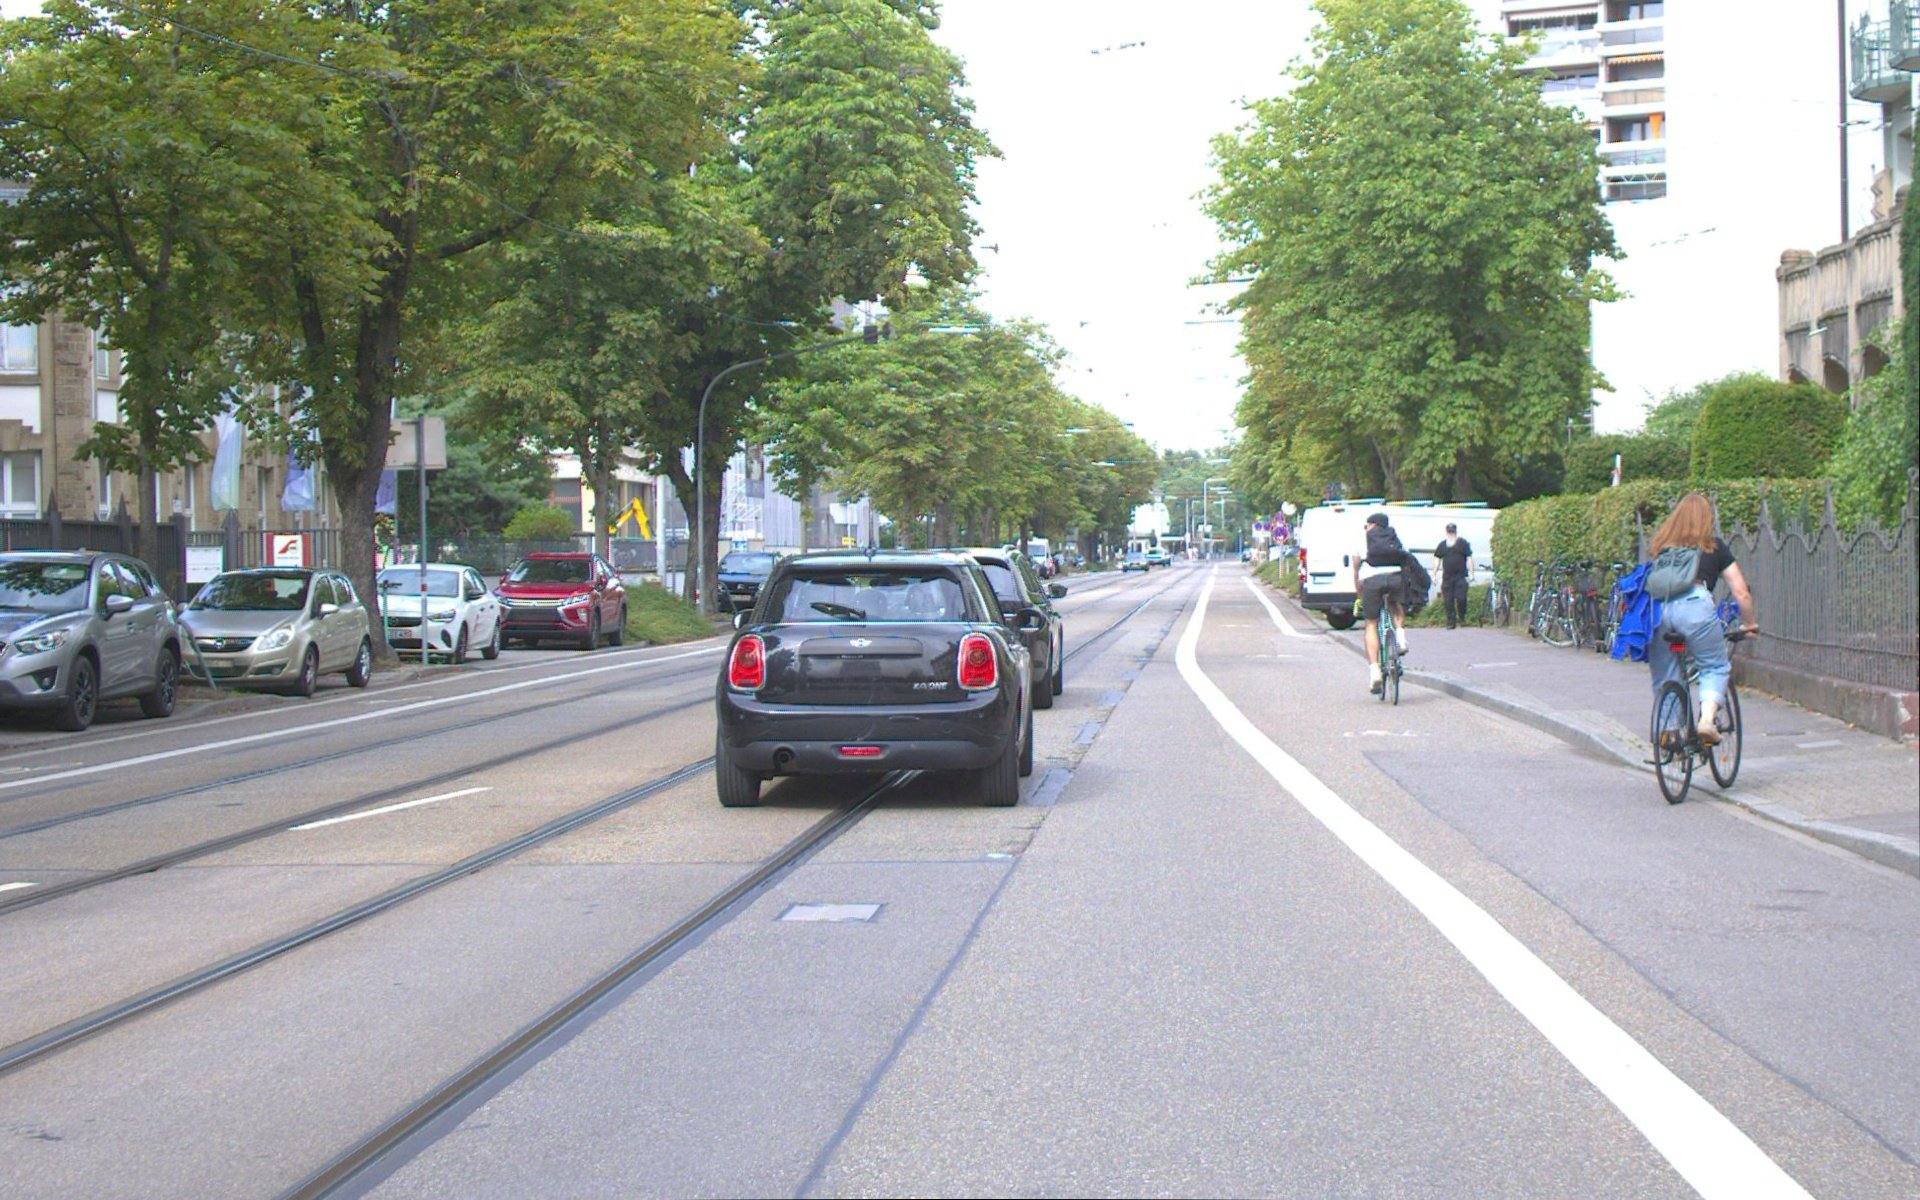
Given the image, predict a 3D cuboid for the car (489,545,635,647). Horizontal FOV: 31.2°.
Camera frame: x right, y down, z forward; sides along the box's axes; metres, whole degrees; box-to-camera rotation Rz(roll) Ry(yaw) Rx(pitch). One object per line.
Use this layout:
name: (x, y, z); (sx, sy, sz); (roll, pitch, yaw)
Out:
car: (-6.862, -0.098, 59.711); (1.721, 1.649, 4.542); (1, 1, 3)

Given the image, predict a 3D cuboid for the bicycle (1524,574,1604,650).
bicycle: (7.467, 0.144, 42.528); (0.485, 0.904, 1.665); (-2, 0, -7)

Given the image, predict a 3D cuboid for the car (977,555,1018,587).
car: (1.930, -1.477, 174.611); (1.802, 1.578, 4.031); (-2, 0, 4)

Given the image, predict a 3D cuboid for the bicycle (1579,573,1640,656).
bicycle: (7.329, 0.157, 38.830); (0.486, 0.904, 1.665); (-2, 0, 5)

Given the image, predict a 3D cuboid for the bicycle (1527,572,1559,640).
bicycle: (7.956, 0.077, 46.933); (0.386, 0.904, 1.664); (-2, 0, 9)

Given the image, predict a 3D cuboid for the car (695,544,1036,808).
car: (-0.466, 0.382, 20.553); (1.793, 1.418, 4.000); (0, 1, 2)

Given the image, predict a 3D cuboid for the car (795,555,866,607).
car: (-3.776, -0.562, 100.886); (1.693, 1.482, 3.677); (0, 1, 4)

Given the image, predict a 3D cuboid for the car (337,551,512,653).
car: (-7.896, 0.006, 51.038); (1.721, 1.419, 4.023); (1, 1, 3)

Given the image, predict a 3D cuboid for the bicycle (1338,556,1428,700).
bicycle: (3.804, 0.228, 31.029); (0.657, 1.244, 2.125); (0, 1, 3)

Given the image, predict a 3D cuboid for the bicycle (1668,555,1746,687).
bicycle: (6.539, 0.168, 30.122); (0.391, 1.099, 1.759); (-2, 1, 4)

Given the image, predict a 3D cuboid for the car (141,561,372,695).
car: (-8.129, 0.287, 40.065); (1.601, 1.463, 4.079); (0, 1, 4)

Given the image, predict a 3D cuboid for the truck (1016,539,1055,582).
truck: (4.567, -2.386, 208.142); (2.071, 2.462, 4.898); (-2, 0, 4)

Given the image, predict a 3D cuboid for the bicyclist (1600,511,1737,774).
bicyclist: (4.099, 0.235, 19.859); (0.648, 1.465, 0.800); (-3, 1, 16)

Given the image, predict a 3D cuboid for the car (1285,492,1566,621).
car: (8.637, -0.793, 63.620); (4.944, 2.282, 2.384); (0, 0, -38)

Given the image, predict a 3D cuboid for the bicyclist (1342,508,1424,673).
bicyclist: (3.814, -0.094, 31.059); (0.657, 1.458, 1.178); (0, 1, 3)

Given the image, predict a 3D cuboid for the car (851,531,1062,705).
car: (0.005, 0.129, 31.681); (1.793, 1.465, 4.000); (1, 1, 1)

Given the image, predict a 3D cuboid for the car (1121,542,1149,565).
car: (12.761, -3.399, 250.683); (1.895, 1.622, 4.000); (0, 1, 1)

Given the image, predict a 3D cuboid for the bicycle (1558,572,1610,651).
bicycle: (7.366, 0.127, 40.617); (0.486, 0.904, 1.664); (-2, 0, 7)

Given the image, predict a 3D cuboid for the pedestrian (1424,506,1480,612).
pedestrian: (8.235, -0.688, 57.560); (0.785, 1.727, 0.896); (-3, 0, 4)

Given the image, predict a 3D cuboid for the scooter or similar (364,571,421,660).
scooter or similar: (-7.952, 0.208, 48.169); (0.561, 1.218, 1.324); (-1, 1, -19)

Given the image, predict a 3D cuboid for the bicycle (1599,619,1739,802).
bicycle: (4.159, 0.622, 20.064); (0.689, 0.959, 2.035); (-1, 1, 14)

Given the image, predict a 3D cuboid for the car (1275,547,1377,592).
car: (13.178, -1.110, 123.809); (3.436, 1.567, 1.560); (-1, 1, -34)

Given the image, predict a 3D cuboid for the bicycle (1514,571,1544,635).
bicycle: (8.259, 0.033, 49.908); (0.386, 0.904, 1.664); (-2, 0, 9)

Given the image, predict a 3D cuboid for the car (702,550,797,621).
car: (-5.005, -0.361, 82.235); (1.756, 1.641, 4.052); (0, 1, 4)

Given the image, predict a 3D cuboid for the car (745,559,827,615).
car: (-4.483, -0.355, 89.177); (1.693, 1.422, 3.868); (0, 1, 4)

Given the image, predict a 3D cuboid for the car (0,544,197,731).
car: (-8.780, 0.309, 32.901); (1.710, 1.668, 4.357); (0, 1, 4)

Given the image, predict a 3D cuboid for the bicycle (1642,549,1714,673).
bicycle: (6.843, 0.089, 32.820); (0.391, 1.138, 1.920); (-2, 1, 4)

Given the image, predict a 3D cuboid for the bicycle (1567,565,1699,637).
bicycle: (9.002, 0.009, 46.011); (1.660, 0.904, 0.487); (-2, 0, 3)

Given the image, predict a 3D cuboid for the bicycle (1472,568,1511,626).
bicycle: (8.528, -0.049, 55.171); (0.386, 0.904, 1.842); (-2, 0, 3)

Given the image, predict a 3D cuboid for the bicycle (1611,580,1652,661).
bicycle: (7.231, 0.211, 37.020); (0.278, 0.849, 1.198); (-2, 0, 5)
